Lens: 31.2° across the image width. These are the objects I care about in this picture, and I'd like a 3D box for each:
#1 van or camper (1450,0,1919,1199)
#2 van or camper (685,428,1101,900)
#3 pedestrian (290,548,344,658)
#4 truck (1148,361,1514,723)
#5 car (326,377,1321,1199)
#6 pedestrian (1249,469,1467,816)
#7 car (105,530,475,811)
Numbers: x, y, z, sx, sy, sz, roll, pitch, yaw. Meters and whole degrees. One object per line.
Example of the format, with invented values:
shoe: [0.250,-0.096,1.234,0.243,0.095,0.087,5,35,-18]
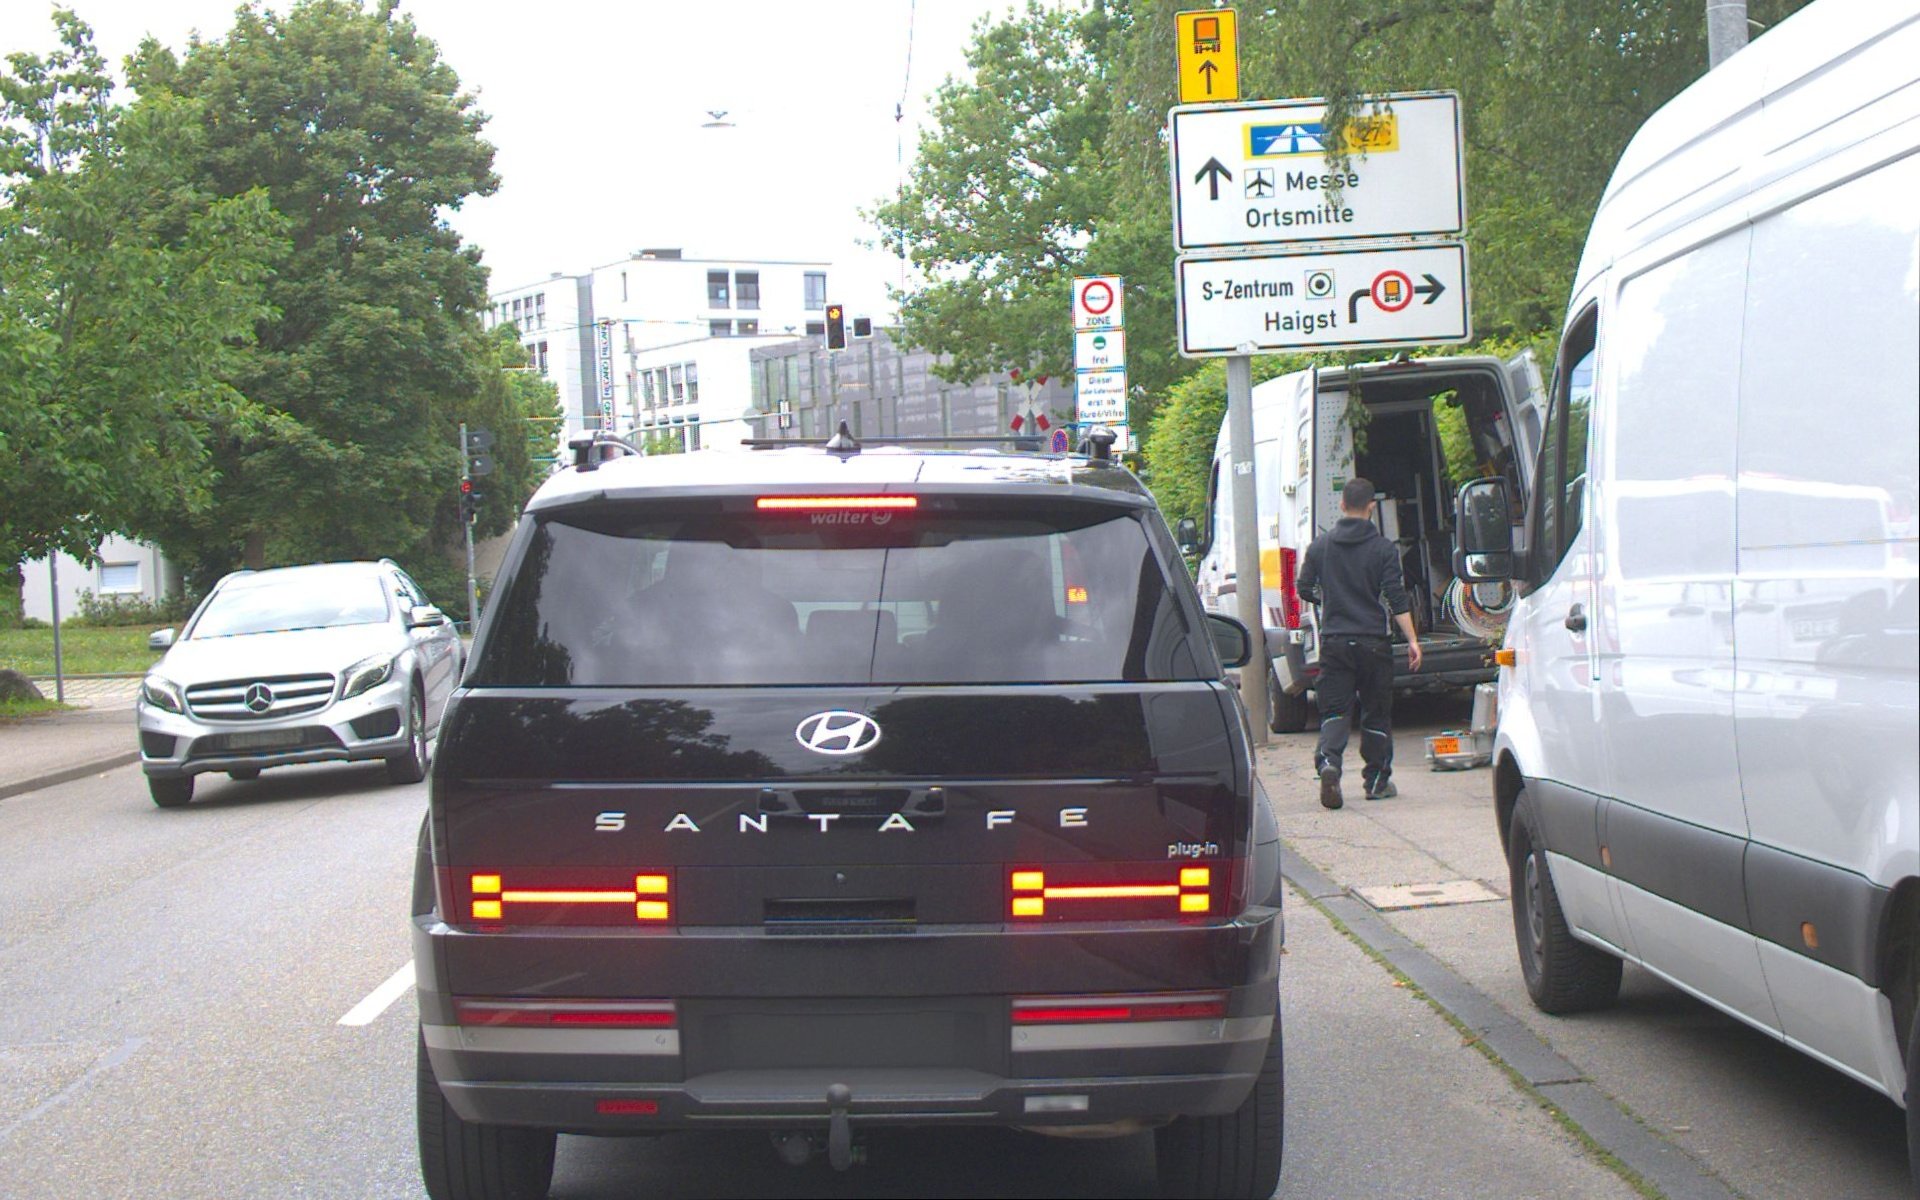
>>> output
van or camper: [2.635,-0.064,7.686,1.993,2.611,6.541,-2,1,-1]
van or camper: [-0.316,0.247,17.042,1.754,2.007,4.000,-2,1,-1]
pedestrian: [-10.241,0.043,54.790,0.738,1.709,0.793,-2,1,-7]
truck: [2.878,-0.451,27.909,1.942,2.553,5.217,-4,1,-4]
car: [-0.280,0.452,8.564,1.889,1.813,4.000,0,1,-1]
pedestrian: [2.127,0.211,18.326,0.759,1.791,0.871,-1,1,38]
car: [-4.536,0.414,23.843,1.785,1.648,4.121,-4,1,-2]
